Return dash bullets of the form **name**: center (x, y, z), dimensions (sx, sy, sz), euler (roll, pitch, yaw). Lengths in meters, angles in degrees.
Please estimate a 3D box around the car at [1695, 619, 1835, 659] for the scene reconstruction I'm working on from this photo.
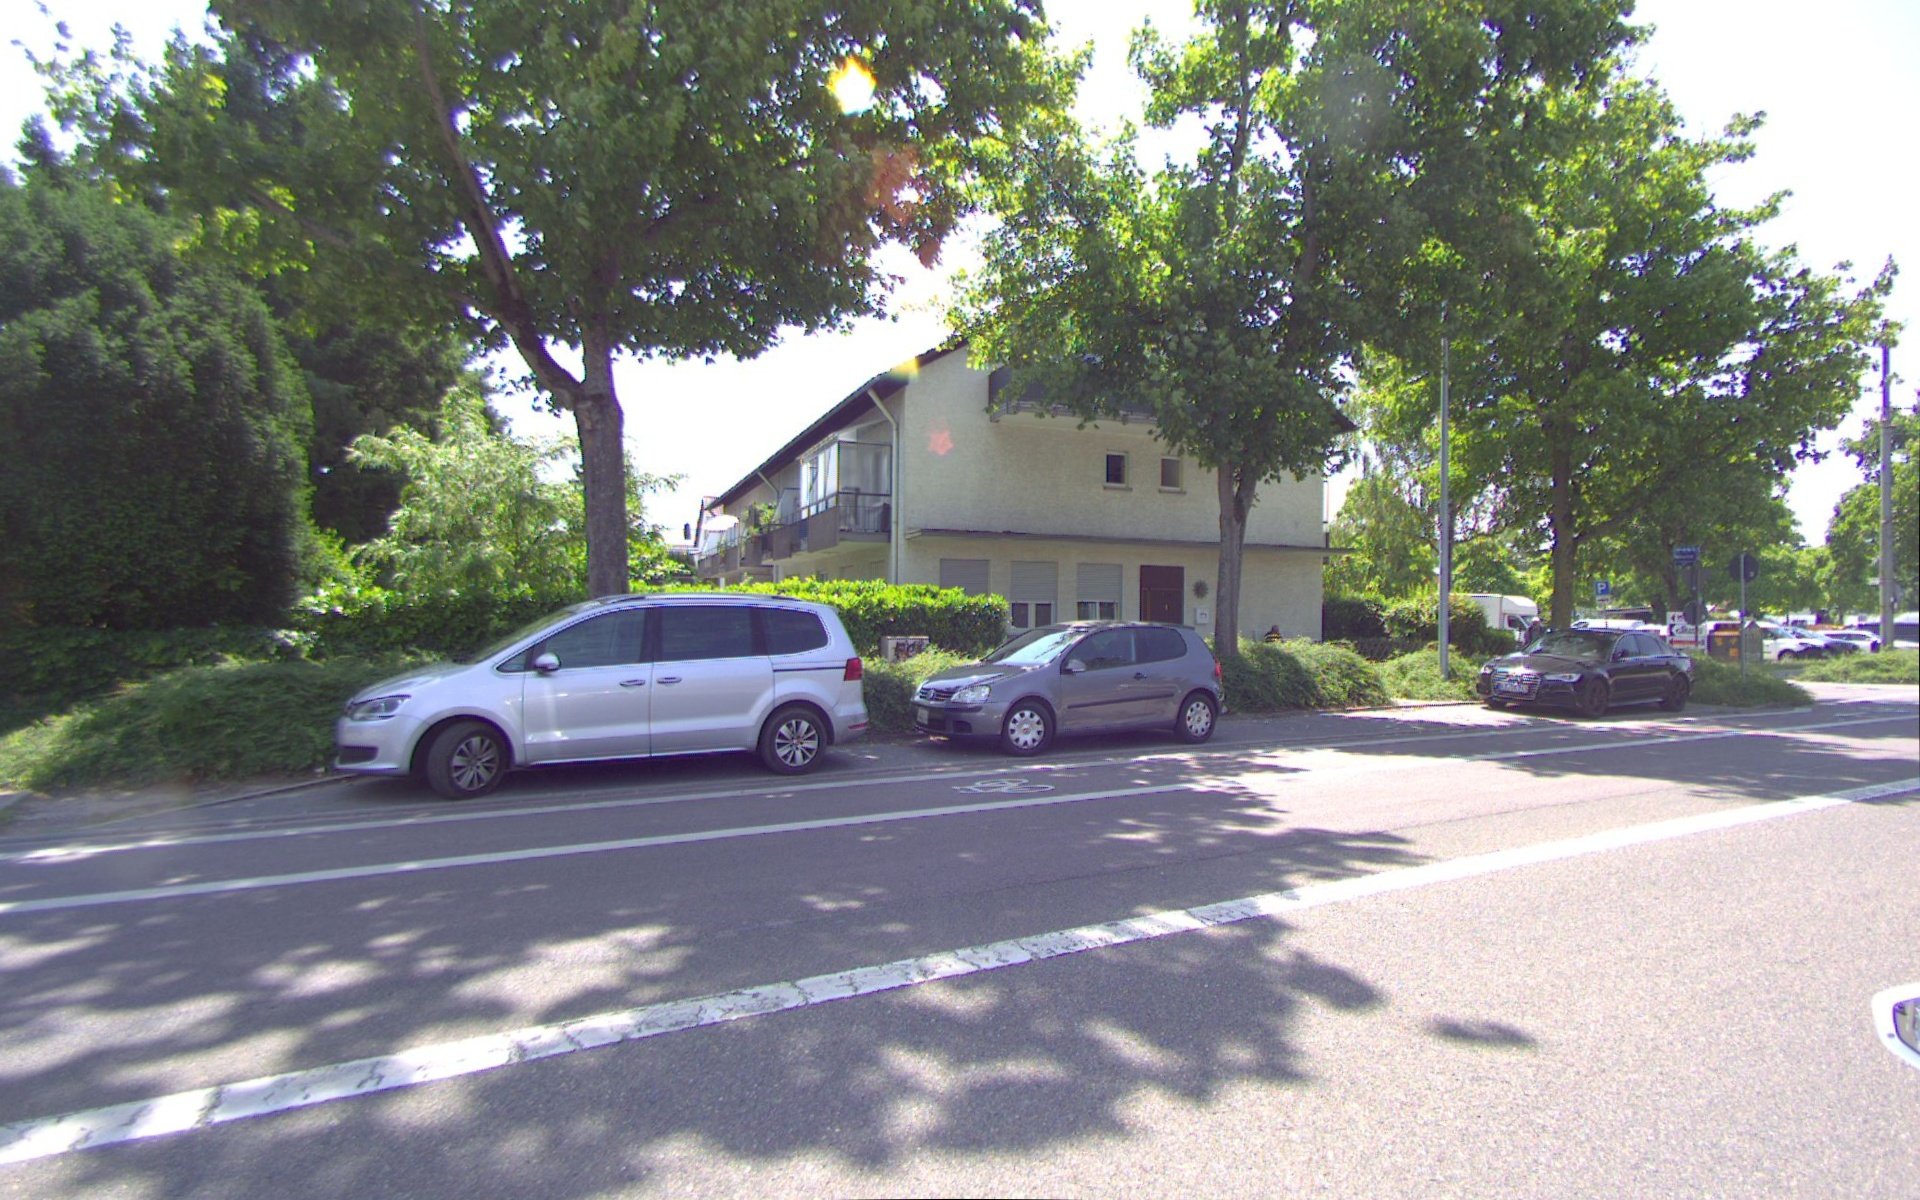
- **car**: center (34.550, 1.627, 43.247), dimensions (1.886, 1.606, 4.332), euler (1, -1, -24)

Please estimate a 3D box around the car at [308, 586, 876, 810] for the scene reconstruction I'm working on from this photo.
- **car**: center (-3.335, 0.759, 9.588), dimensions (4.725, 1.687, 1.863), euler (1, 0, -31)

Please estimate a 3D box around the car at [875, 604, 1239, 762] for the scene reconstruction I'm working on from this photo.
- **car**: center (1.226, 0.896, 12.208), dimensions (4.132, 1.585, 1.809), euler (1, 1, -31)

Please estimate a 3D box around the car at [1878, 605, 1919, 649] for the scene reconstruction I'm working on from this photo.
- **car**: center (52.810, 1.535, 53.601), dimensions (2.349, 2.274, 5.076), euler (2, 1, -28)

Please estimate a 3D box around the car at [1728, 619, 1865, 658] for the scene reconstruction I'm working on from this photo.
- **car**: center (36.988, 1.669, 44.545), dimensions (1.886, 1.606, 4.333), euler (1, -1, -23)

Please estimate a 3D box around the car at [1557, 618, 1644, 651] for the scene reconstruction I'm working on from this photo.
- **car**: center (38.081, 2.022, 59.755), dimensions (1.799, 1.675, 3.957), euler (2, 1, -37)

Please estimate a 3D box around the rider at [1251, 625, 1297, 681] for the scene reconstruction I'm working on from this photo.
- **rider**: center (8.000, 1.335, 25.606), dimensions (0.800, 1.392, 0.824), euler (1, -1, -22)

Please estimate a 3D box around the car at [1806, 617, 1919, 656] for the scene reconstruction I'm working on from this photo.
- **car**: center (43.811, 1.735, 48.604), dimensions (1.975, 1.769, 3.968), euler (1, -1, -30)

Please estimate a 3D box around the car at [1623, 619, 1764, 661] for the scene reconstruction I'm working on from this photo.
- **car**: center (30.010, 1.616, 41.223), dimensions (1.891, 1.606, 4.321), euler (1, -1, -31)

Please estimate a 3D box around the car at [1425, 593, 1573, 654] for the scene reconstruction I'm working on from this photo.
- **car**: center (29.407, 1.215, 55.121), dimensions (2.337, 3.005, 6.816), euler (2, 1, -30)

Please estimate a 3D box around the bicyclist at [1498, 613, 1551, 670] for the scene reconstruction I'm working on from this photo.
- **bicyclist**: center (14.482, 1.054, 25.781), dimensions (0.817, 1.392, 0.806), euler (2, 1, -27)

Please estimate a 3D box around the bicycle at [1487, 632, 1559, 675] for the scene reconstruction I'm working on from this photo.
- **bicycle**: center (14.439, 1.374, 25.752), dimensions (1.805, 1.043, 0.698), euler (2, 1, -27)

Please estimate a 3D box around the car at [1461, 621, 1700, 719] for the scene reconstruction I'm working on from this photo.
- **car**: center (11.187, 1.179, 18.042), dimensions (4.397, 1.496, 1.809), euler (1, 1, -31)

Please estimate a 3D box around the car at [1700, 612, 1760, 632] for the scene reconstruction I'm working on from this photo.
- **car**: center (71.130, 2.055, 92.821), dimensions (1.794, 1.638, 4.003), euler (2, 1, -28)

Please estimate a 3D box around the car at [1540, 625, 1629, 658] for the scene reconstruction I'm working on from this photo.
- **car**: center (36.182, 2.377, 58.247), dimensions (1.799, 1.675, 3.957), euler (2, 1, -37)

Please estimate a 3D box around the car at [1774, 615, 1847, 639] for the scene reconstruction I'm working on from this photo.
- **car**: center (66.996, 2.117, 79.170), dimensions (1.795, 1.638, 4.000), euler (2, 1, -30)
